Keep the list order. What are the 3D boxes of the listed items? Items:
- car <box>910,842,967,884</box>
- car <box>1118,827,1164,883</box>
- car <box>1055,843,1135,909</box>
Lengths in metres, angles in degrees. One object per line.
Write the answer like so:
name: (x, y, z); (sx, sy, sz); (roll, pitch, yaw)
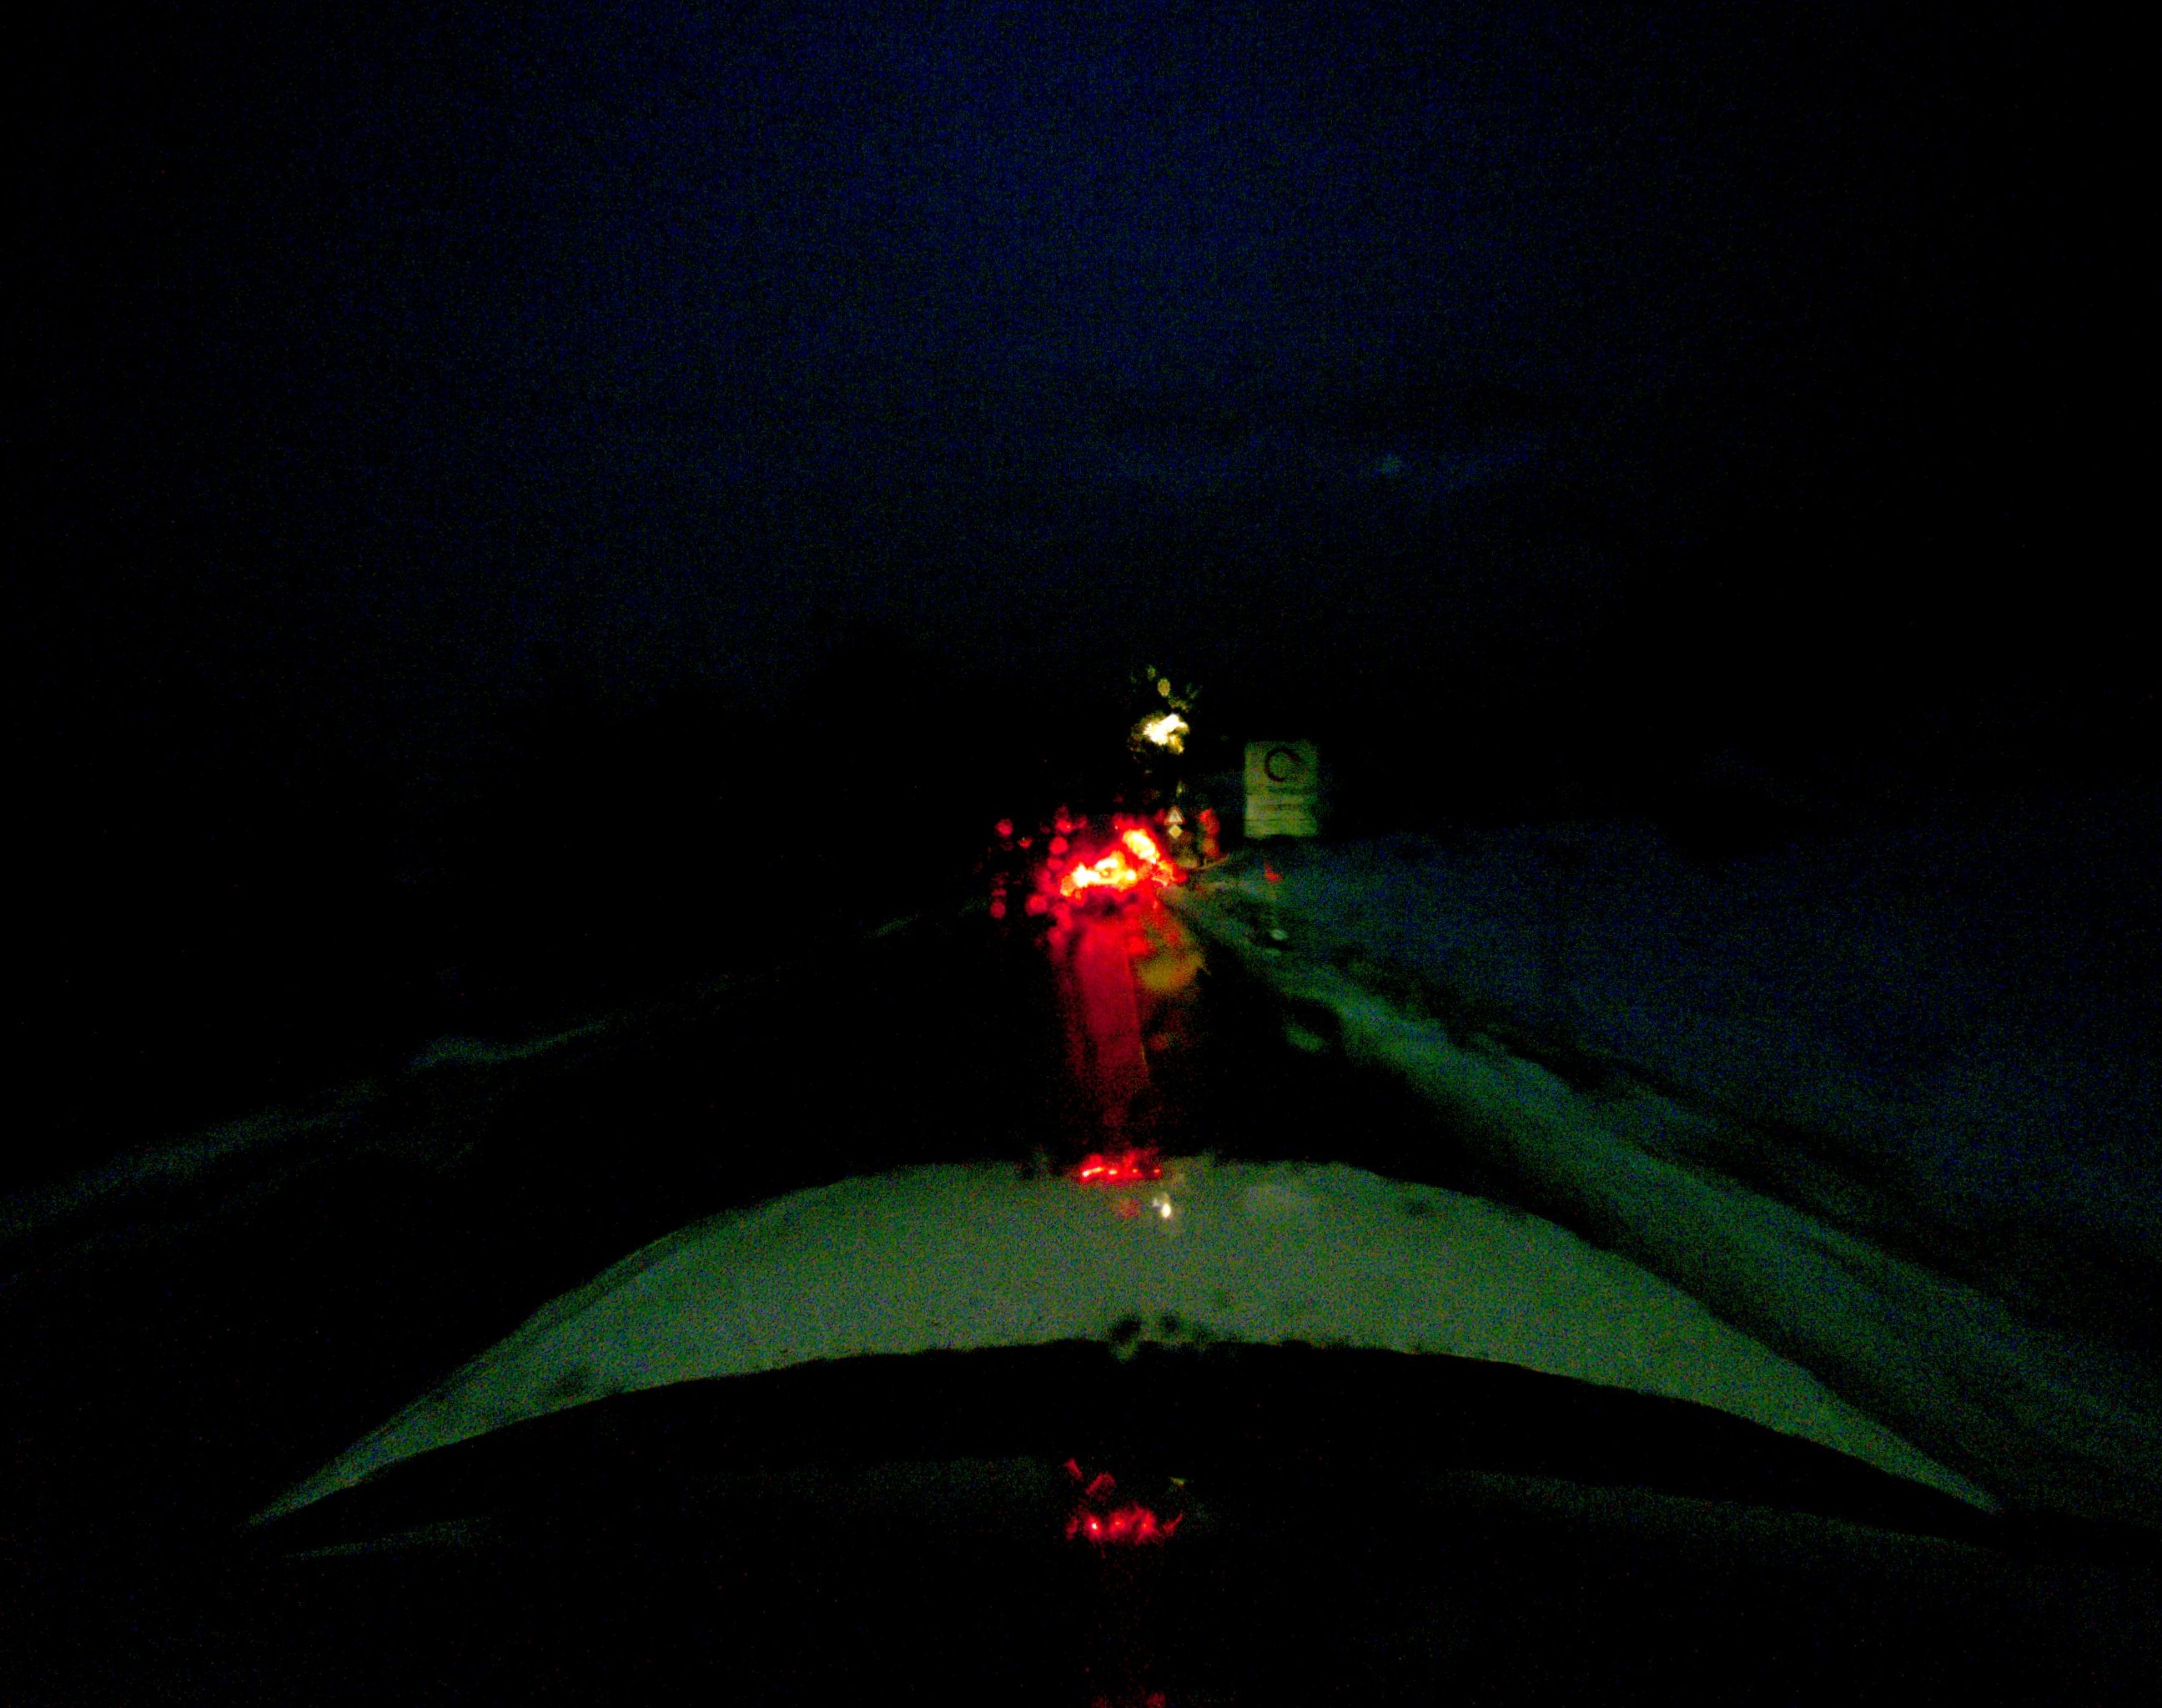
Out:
car: (-9.318, 0.560, 53.873); (2.461, 2.571, 6.229); (-2, 0, 1)
car: (3.615, 0.112, 49.372); (2.425, 3.019, 5.329); (-4, -1, 3)
car: (0.421, 0.641, 25.971); (2.267, 1.840, 5.006); (-2, 0, 0)
